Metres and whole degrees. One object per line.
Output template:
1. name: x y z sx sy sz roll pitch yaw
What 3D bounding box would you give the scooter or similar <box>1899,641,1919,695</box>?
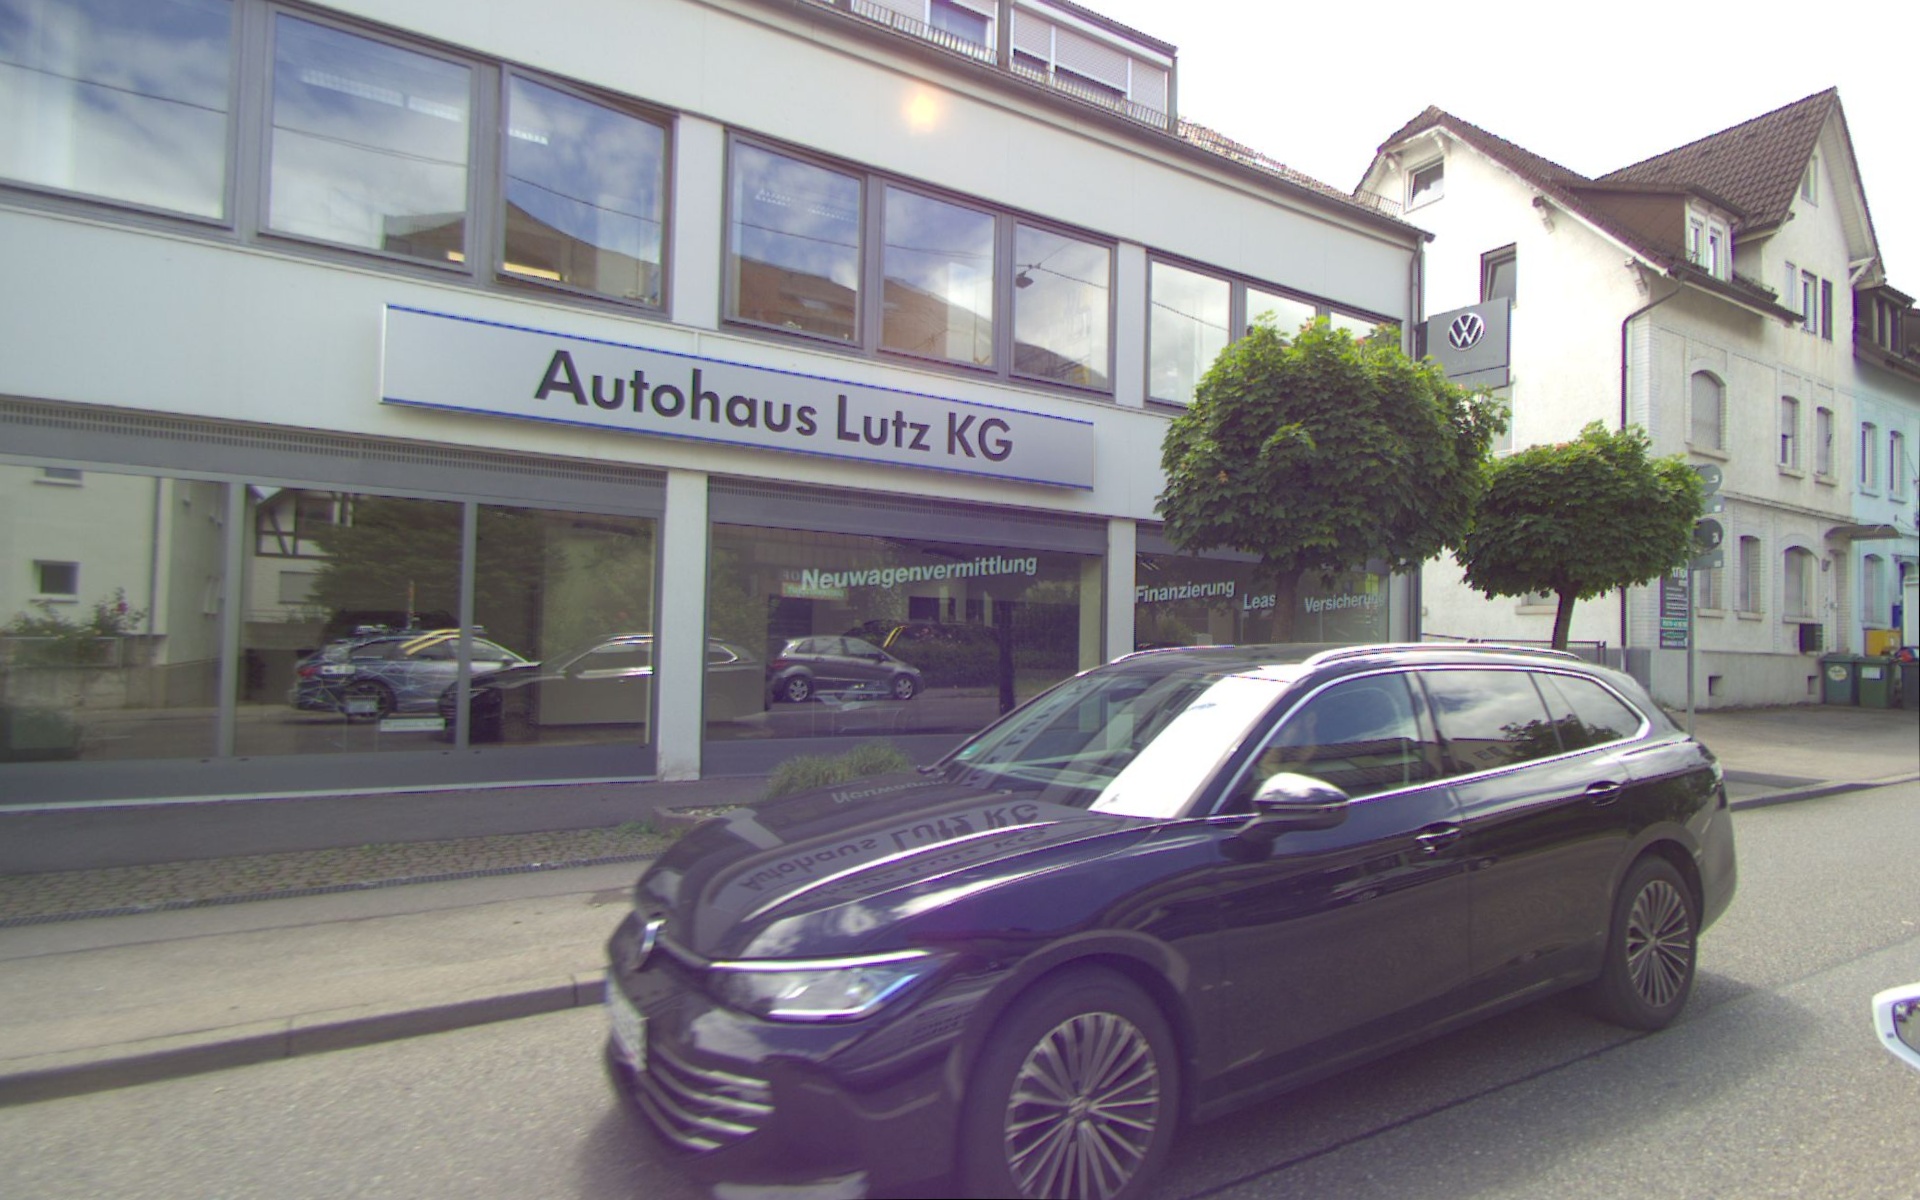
1. scooter or similar: 22.196 1.563 22.529 0.539 1.200 1.546 3 -1 -29

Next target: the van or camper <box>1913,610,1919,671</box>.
1. van or camper: 33.909 1.418 32.459 4.291 2.020 1.792 2 -1 6

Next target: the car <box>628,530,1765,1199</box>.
1. car: 1.168 0.731 3.977 4.412 1.543 1.767 3 -2 -31

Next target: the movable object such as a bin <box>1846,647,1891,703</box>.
1. movable object such as a bin: 19.087 1.573 21.103 0.557 1.115 0.561 3 0 -34

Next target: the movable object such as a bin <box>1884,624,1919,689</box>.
1. movable object such as a bin: 19.441 1.153 20.600 0.557 1.290 0.561 2 1 -34

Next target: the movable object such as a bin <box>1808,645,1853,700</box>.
1. movable object such as a bin: 18.748 1.556 21.640 0.557 1.115 0.561 3 0 -34
